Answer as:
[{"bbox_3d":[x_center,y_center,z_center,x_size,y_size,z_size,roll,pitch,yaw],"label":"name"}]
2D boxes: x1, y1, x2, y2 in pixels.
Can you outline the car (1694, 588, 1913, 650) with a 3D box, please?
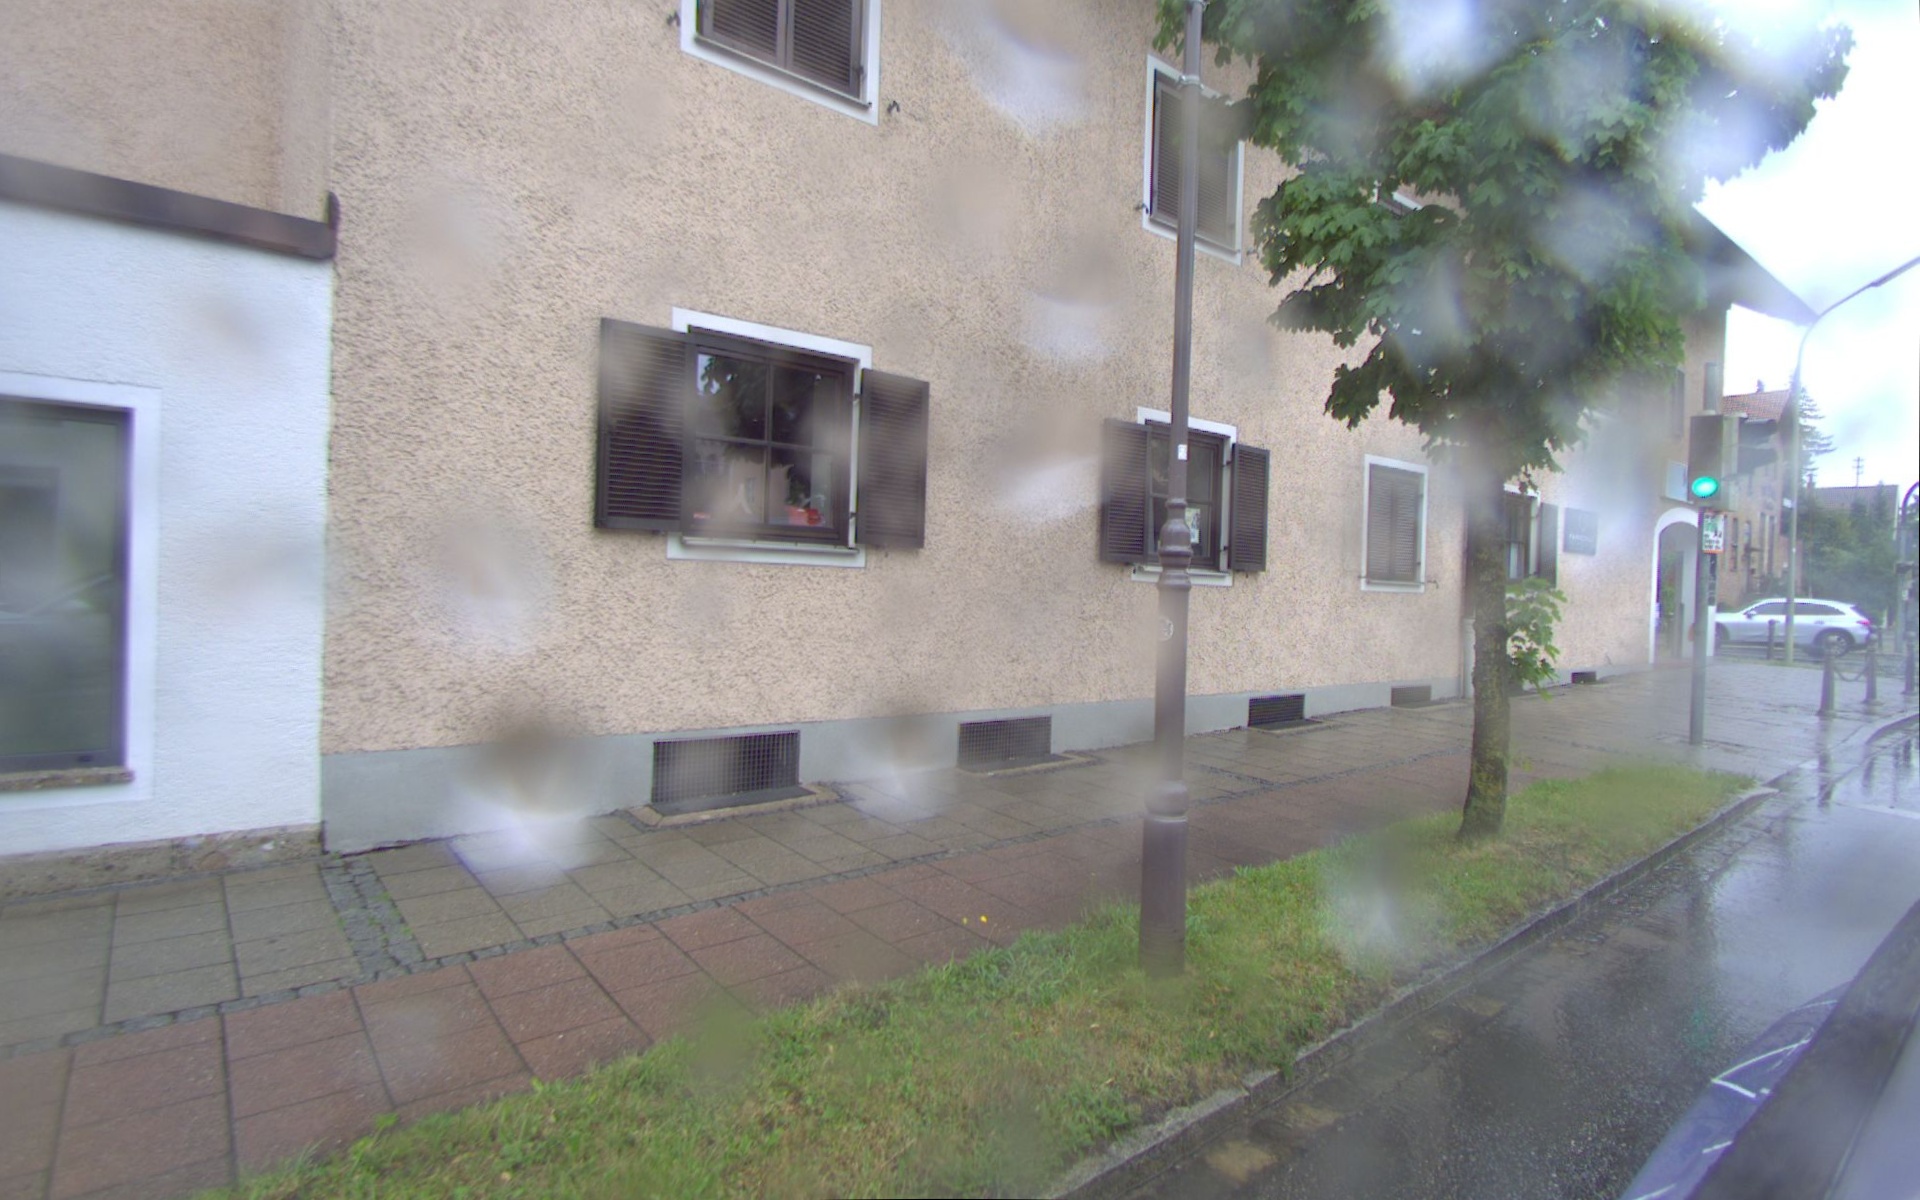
[{"bbox_3d":[24.224,0.495,29.315,4.571,1.517,1.719,3,2,30],"label":"car"}]
